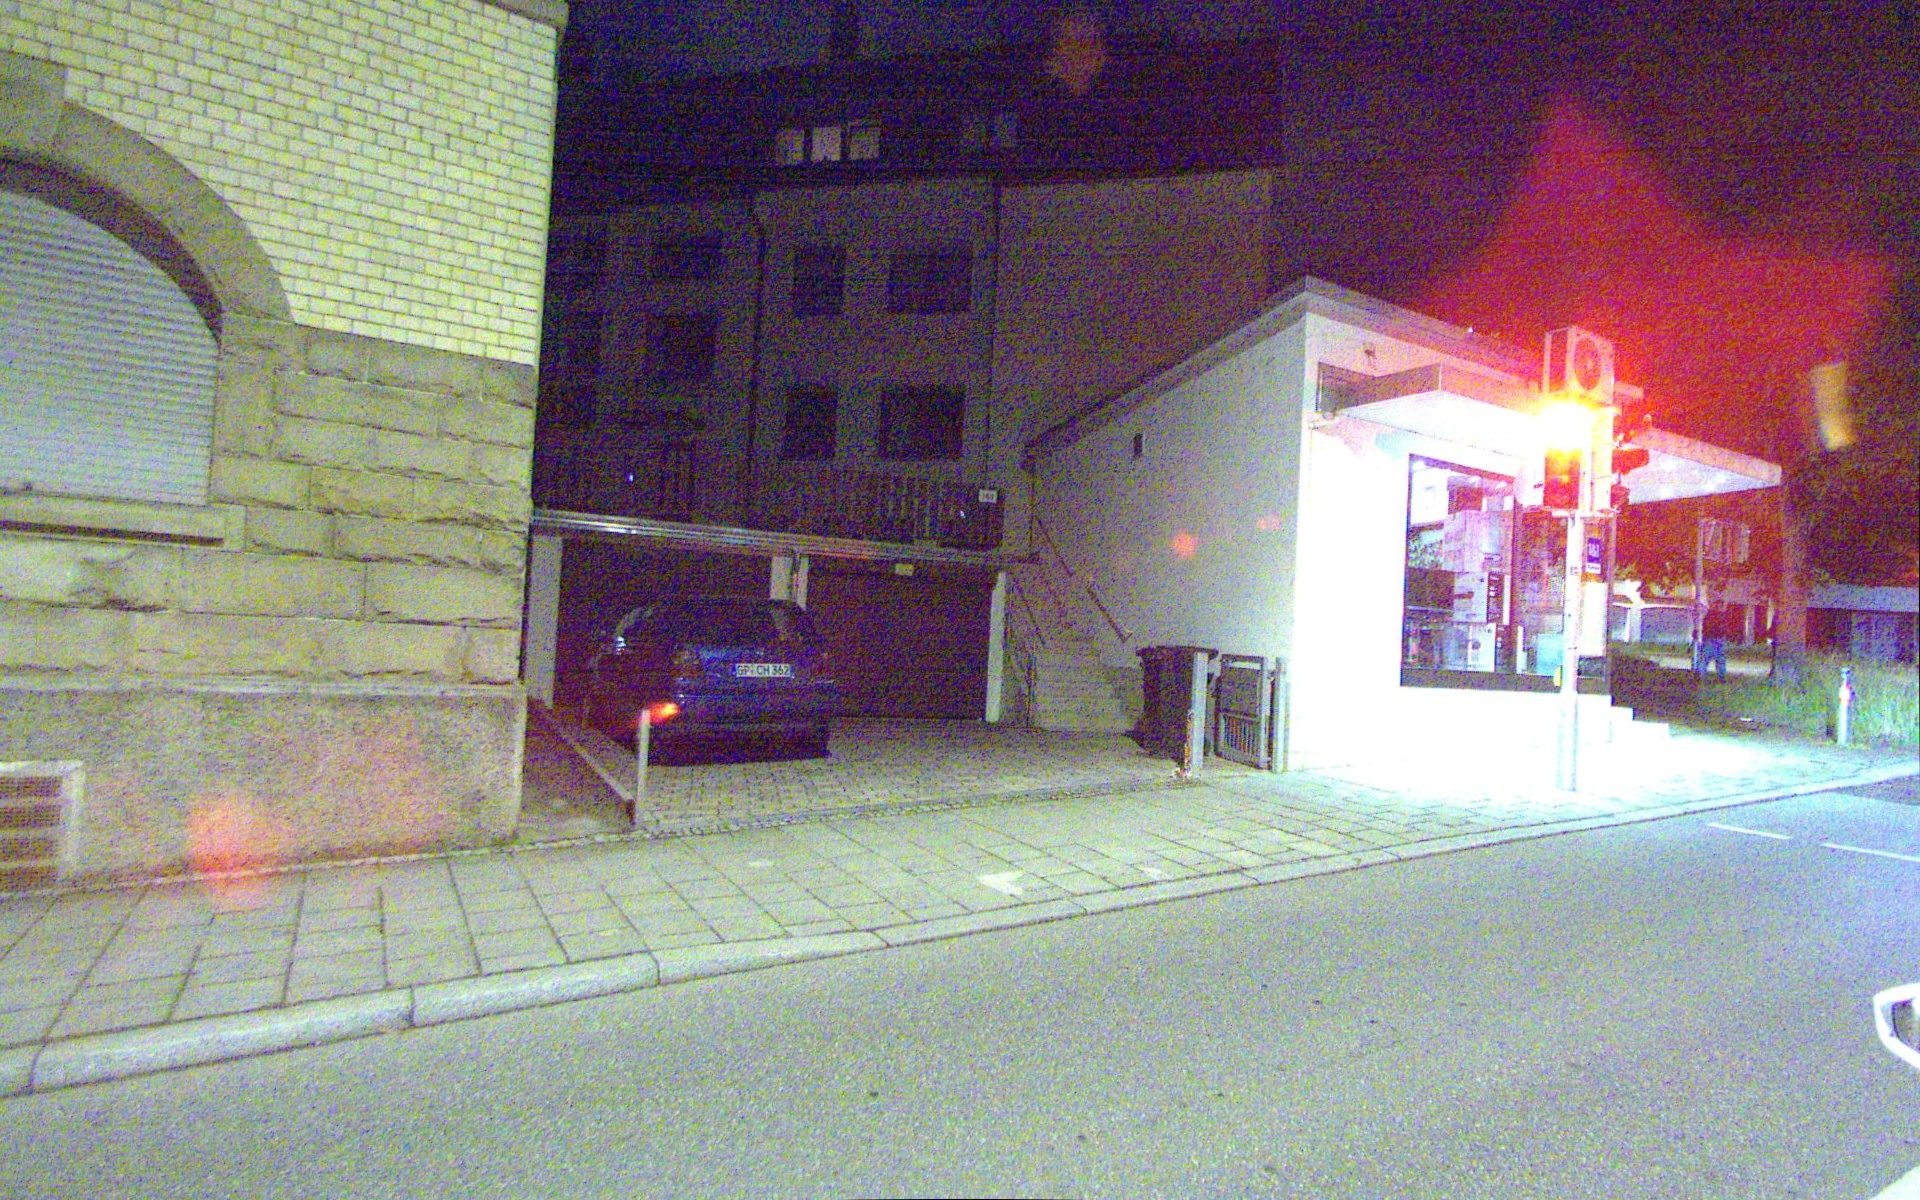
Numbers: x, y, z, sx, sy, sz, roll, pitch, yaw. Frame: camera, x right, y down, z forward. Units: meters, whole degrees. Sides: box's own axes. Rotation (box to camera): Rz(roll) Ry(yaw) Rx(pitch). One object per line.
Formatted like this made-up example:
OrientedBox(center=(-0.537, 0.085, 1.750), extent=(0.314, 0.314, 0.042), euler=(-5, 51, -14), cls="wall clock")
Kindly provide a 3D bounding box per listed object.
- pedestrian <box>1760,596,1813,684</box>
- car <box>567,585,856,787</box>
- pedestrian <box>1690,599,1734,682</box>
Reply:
OrientedBox(center=(17.409, 0.833, 21.170), extent=(0.729, 1.801, 0.567), euler=(2, 2, -30), cls="pedestrian")
OrientedBox(center=(-2.531, 0.645, 9.551), extent=(1.700, 1.460, 3.631), euler=(2, 1, -30), cls="car")
OrientedBox(center=(16.240, 0.861, 21.685), extent=(0.537, 1.754, 0.567), euler=(2, 0, -30), cls="pedestrian")
